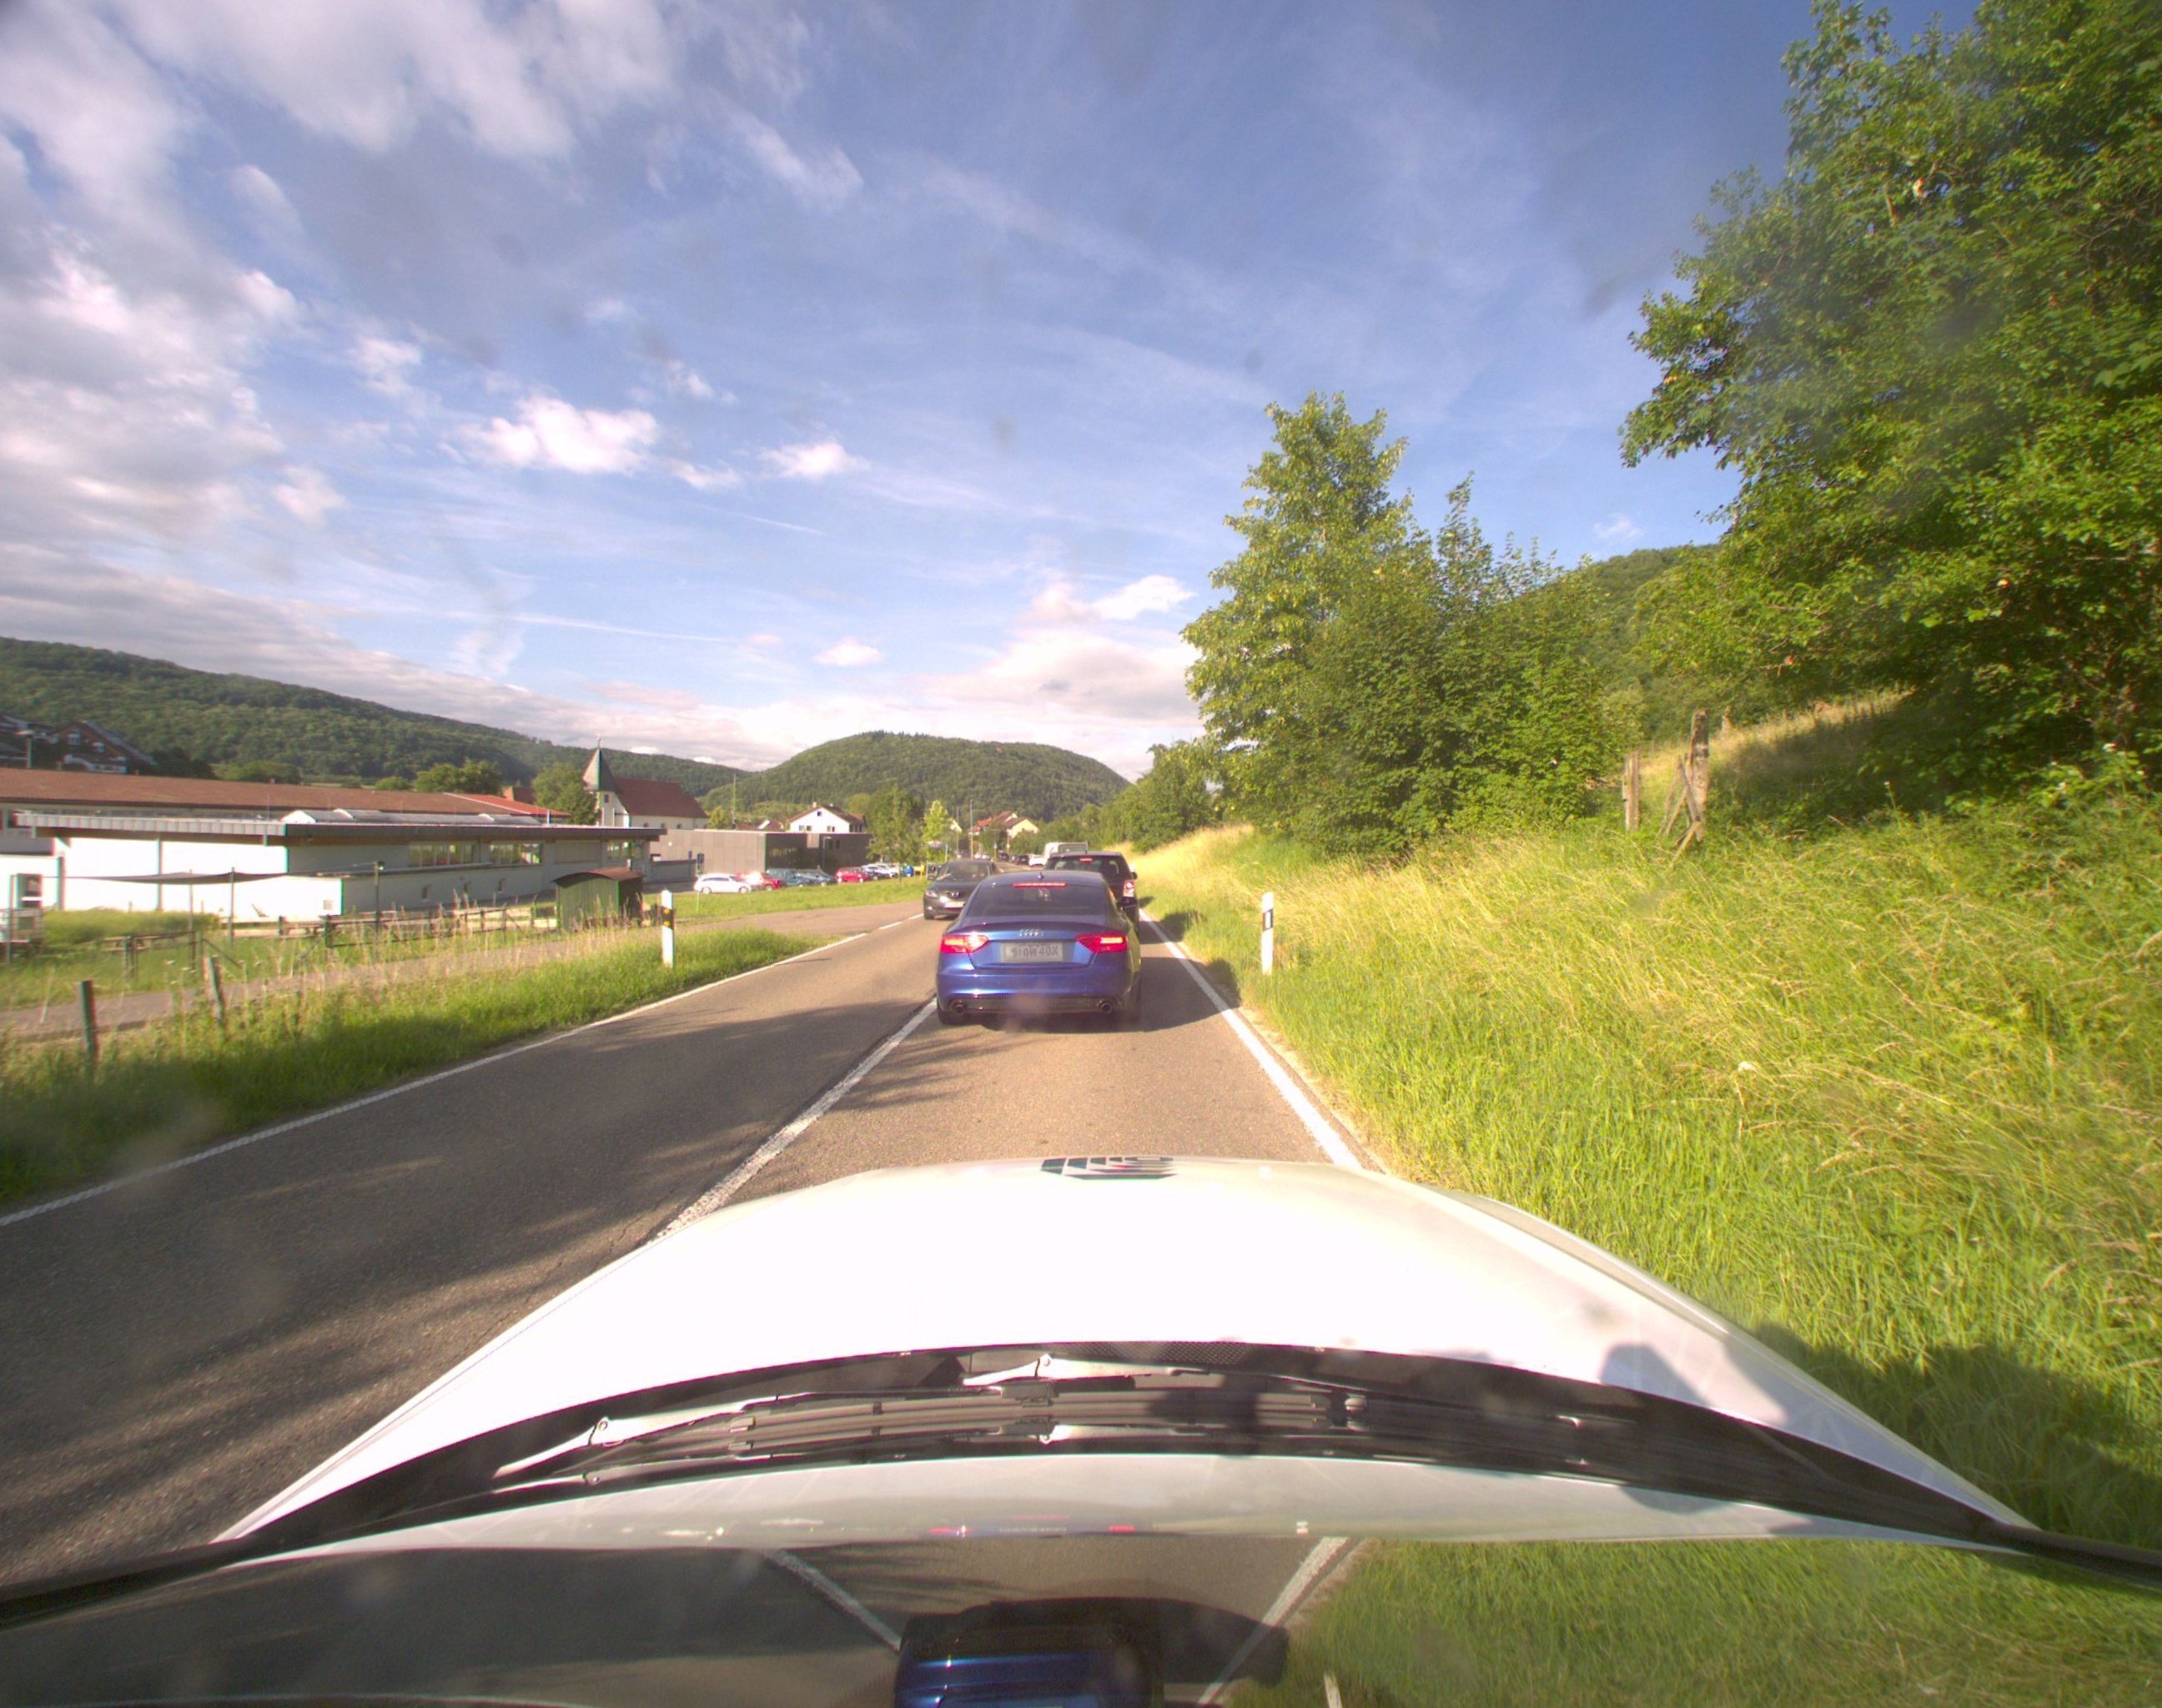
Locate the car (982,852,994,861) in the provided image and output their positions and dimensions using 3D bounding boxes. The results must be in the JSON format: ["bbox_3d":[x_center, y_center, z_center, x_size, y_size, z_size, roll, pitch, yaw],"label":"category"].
[{"bbox_3d":[-18.331,0.505,160.512,1.849,1.712,3.979,0,-1,-15],"label":"car"}]

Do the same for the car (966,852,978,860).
[{"bbox_3d":[-23.978,0.360,179.136,1.850,1.712,3.976,0,-1,-18],"label":"car"}]

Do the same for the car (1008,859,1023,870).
[{"bbox_3d":[-10.087,1.574,125.700,1.846,1.712,3.985,0,-1,-11],"label":"car"}]

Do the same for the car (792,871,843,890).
[{"bbox_3d":[-24.089,2.422,74.480,3.975,1.711,1.999,0,-1,-1],"label":"car"}]

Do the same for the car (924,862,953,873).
[{"bbox_3d":[-20.827,1.943,119.024,3.975,1.579,1.752,0,-1,-1],"label":"car"}]

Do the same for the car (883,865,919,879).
[{"bbox_3d":[-22.552,2.245,102.037,3.975,1.711,1.999,0,-1,-1],"label":"car"}]

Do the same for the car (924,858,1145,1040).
[{"bbox_3d":[-0.280,0.773,8.373,1.747,1.430,3.849,0,-1,3],"label":"car"}]

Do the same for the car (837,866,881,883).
[{"bbox_3d":[-23.091,2.091,84.762,3.975,1.711,1.999,0,-1,-1],"label":"car"}]

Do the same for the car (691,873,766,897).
[{"bbox_3d":[-26.429,2.319,61.206,4.716,1.711,1.999,0,-1,-1],"label":"car"}]

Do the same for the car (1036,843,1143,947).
[{"bbox_3d":[0.231,0.686,15.230,1.747,1.681,3.849,0,-1,3],"label":"car"}]

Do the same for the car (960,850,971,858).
[{"bbox_3d":[-26.873,0.059,189.286,1.851,1.712,3.974,0,-1,-19],"label":"car"}]

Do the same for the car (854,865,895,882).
[{"bbox_3d":[-22.647,2.129,89.303,3.975,1.711,1.999,0,-1,-1],"label":"car"}]

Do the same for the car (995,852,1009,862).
[{"bbox_3d":[-13.630,0.501,140.644,1.848,1.712,3.980,0,-1,-15],"label":"car"}]

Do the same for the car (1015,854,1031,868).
[{"bbox_3d":[-7.737,0.940,108.738,1.845,1.712,3.987,0,-1,-9],"label":"car"}]

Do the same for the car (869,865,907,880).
[{"bbox_3d":[-22.798,2.194,96.252,3.975,1.711,1.999,0,-1,-1],"label":"car"}]

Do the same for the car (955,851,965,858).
[{"bbox_3d":[-29.509,0.061,198.084,1.851,1.712,3.975,0,-1,-19],"label":"car"}]

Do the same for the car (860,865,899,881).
[{"bbox_3d":[-23.005,2.165,92.970,3.975,1.711,1.999,0,-1,-1],"label":"car"}]

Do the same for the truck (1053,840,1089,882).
[{"bbox_3d":[-0.678,0.470,53.148,2.224,2.570,6.099,0,-1,-2],"label":"truck"}]

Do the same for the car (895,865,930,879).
[{"bbox_3d":[-21.637,2.262,104.691,3.975,1.711,1.999,0,-1,-1],"label":"car"}]

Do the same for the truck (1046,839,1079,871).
[{"bbox_3d":[-1.588,0.107,67.222,2.227,2.570,6.693,0,-1,-6],"label":"truck"}]

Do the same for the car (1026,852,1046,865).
[{"bbox_3d":[-5.352,0.537,96.424,1.845,1.482,3.986,0,-1,-10],"label":"car"}]

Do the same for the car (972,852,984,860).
[{"bbox_3d":[-21.364,0.424,169.385,1.850,1.712,3.976,0,-1,-17],"label":"car"}]

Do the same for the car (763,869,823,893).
[{"bbox_3d":[-24.704,2.317,69.990,4.393,2.008,1.999,0,-1,-1],"label":"car"}]

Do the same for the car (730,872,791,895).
[{"bbox_3d":[-25.205,2.336,64.187,3.975,1.711,1.999,0,-1,-1],"label":"car"}]

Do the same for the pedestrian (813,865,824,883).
[{"bbox_3d":[-29.113,2.247,90.345,0.822,2.014,0.973,0,-1,1],"label":"pedestrian"}]

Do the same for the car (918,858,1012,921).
[{"bbox_3d":[-2.833,0.824,20.666,1.698,1.430,4.052,0,-1,2],"label":"car"}]
